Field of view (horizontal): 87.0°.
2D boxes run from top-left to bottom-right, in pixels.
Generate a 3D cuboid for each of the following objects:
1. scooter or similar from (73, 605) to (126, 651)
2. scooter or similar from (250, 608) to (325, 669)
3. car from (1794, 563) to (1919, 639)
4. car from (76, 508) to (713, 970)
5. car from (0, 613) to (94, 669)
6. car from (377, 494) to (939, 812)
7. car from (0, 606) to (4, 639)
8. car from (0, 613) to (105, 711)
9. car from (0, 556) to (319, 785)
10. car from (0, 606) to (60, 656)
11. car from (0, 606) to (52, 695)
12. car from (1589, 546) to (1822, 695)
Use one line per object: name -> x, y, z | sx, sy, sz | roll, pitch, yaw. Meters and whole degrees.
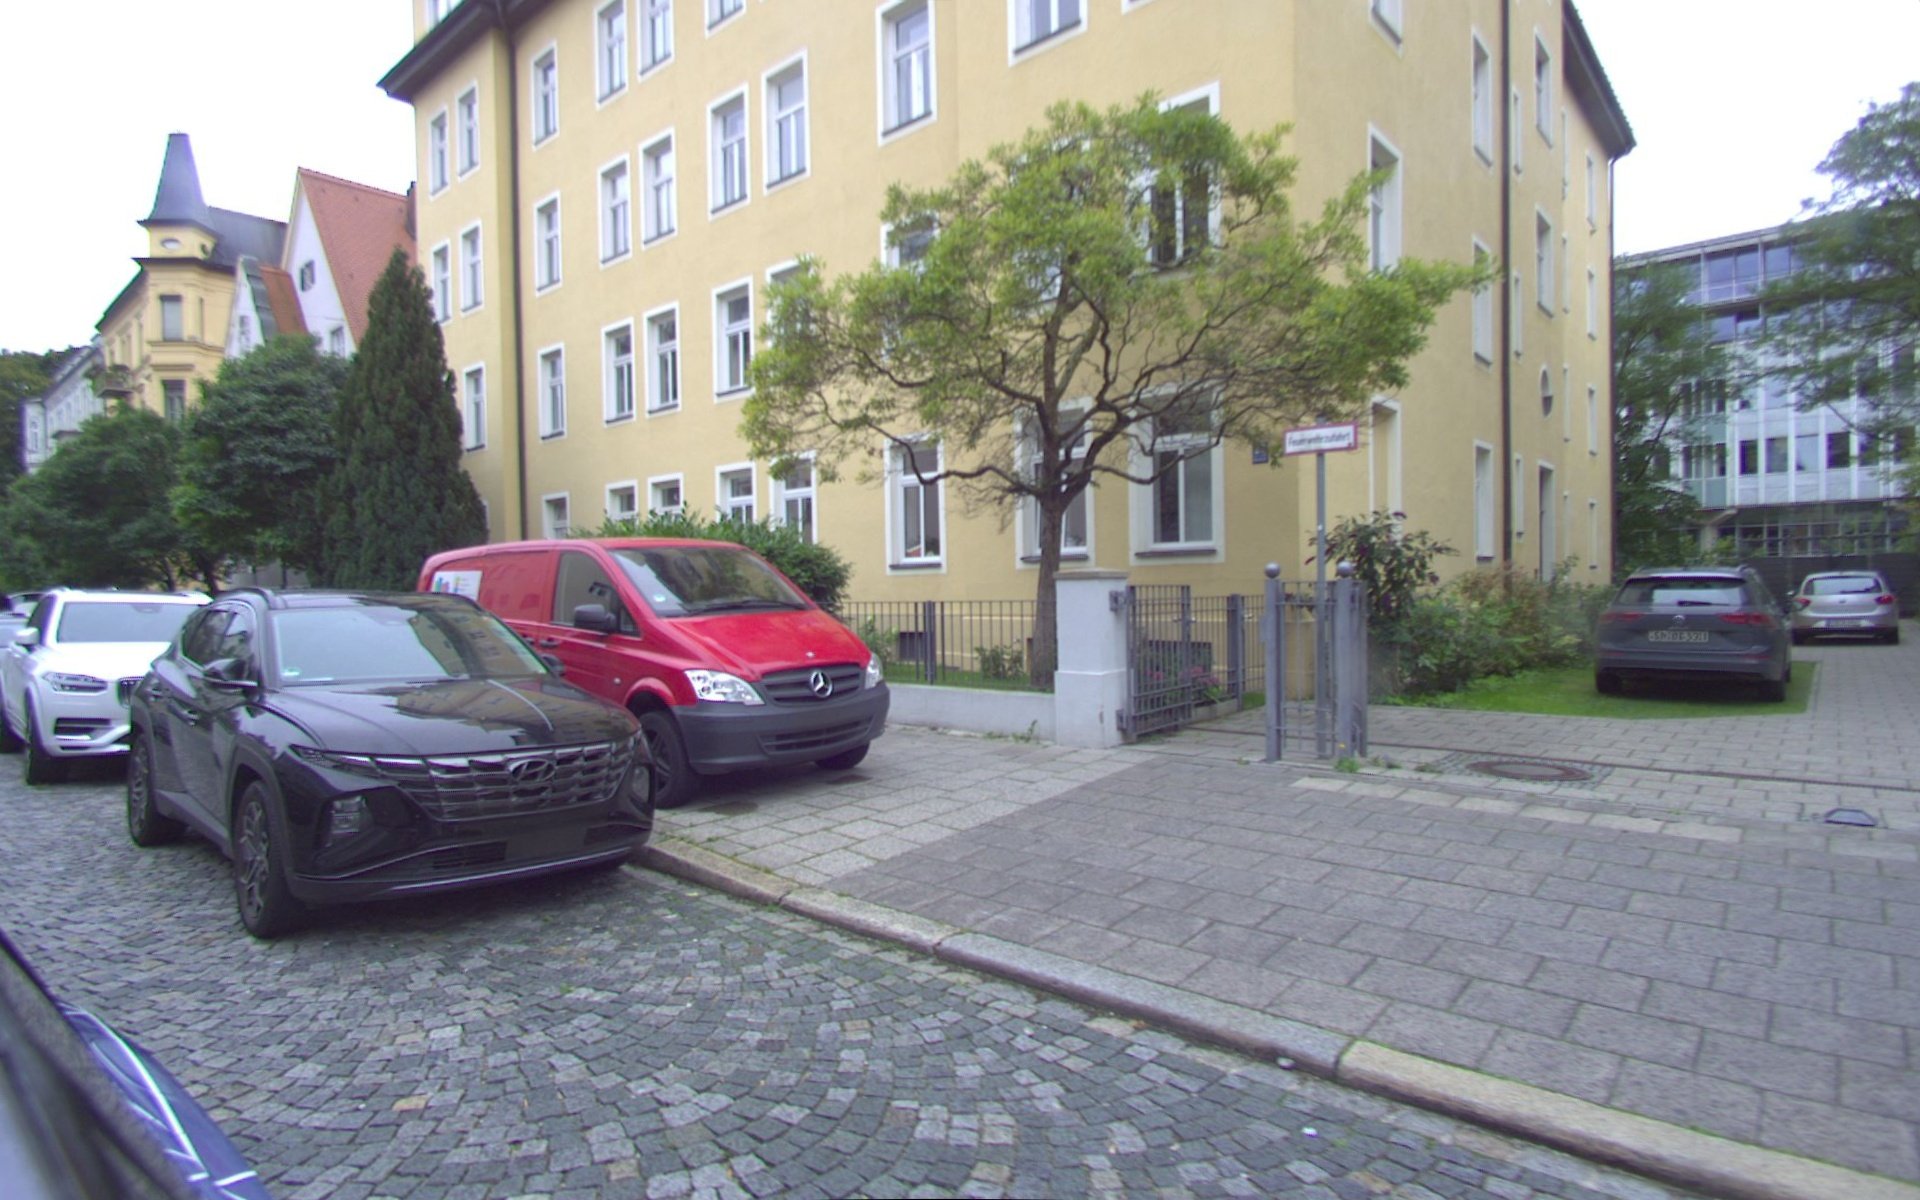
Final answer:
scooter or similar -> -30.167, 0.954, 35.462 | 2.634, 1.534, 1.051 | -1, 0, 42
scooter or similar -> -14.625, 0.814, 22.006 | 1.522, 1.209, 0.946 | -1, 3, 42
car -> 18.169, -0.002, 20.573 | 1.748, 1.399, 3.936 | 0, 0, 41
car -> -3.705, 0.593, 6.154 | 4.754, 1.748, 1.897 | -1, -3, 42
car -> -27.364, 1.163, 30.150 | 4.560, 1.427, 1.757 | -1, 2, 42
car -> -2.850, 0.313, 8.682 | 5.327, 1.945, 1.974 | -1, 2, 40
car -> -45.035, 1.074, 46.015 | 4.387, 1.477, 1.823 | -1, 2, 41
car -> -15.218, 0.929, 16.245 | 3.934, 1.429, 1.711 | -1, -2, 41
car -> -8.602, 0.594, 10.525 | 5.173, 1.822, 1.985 | -1, -1, 42
car -> -32.667, 1.031, 34.960 | 4.464, 1.547, 1.722 | -1, 2, 41
car -> -18.739, 0.911, 19.227 | 4.388, 1.574, 1.696 | -1, -1, 41
car -> 8.853, 0.180, 11.877 | 1.833, 1.434, 4.025 | 0, 0, 42
